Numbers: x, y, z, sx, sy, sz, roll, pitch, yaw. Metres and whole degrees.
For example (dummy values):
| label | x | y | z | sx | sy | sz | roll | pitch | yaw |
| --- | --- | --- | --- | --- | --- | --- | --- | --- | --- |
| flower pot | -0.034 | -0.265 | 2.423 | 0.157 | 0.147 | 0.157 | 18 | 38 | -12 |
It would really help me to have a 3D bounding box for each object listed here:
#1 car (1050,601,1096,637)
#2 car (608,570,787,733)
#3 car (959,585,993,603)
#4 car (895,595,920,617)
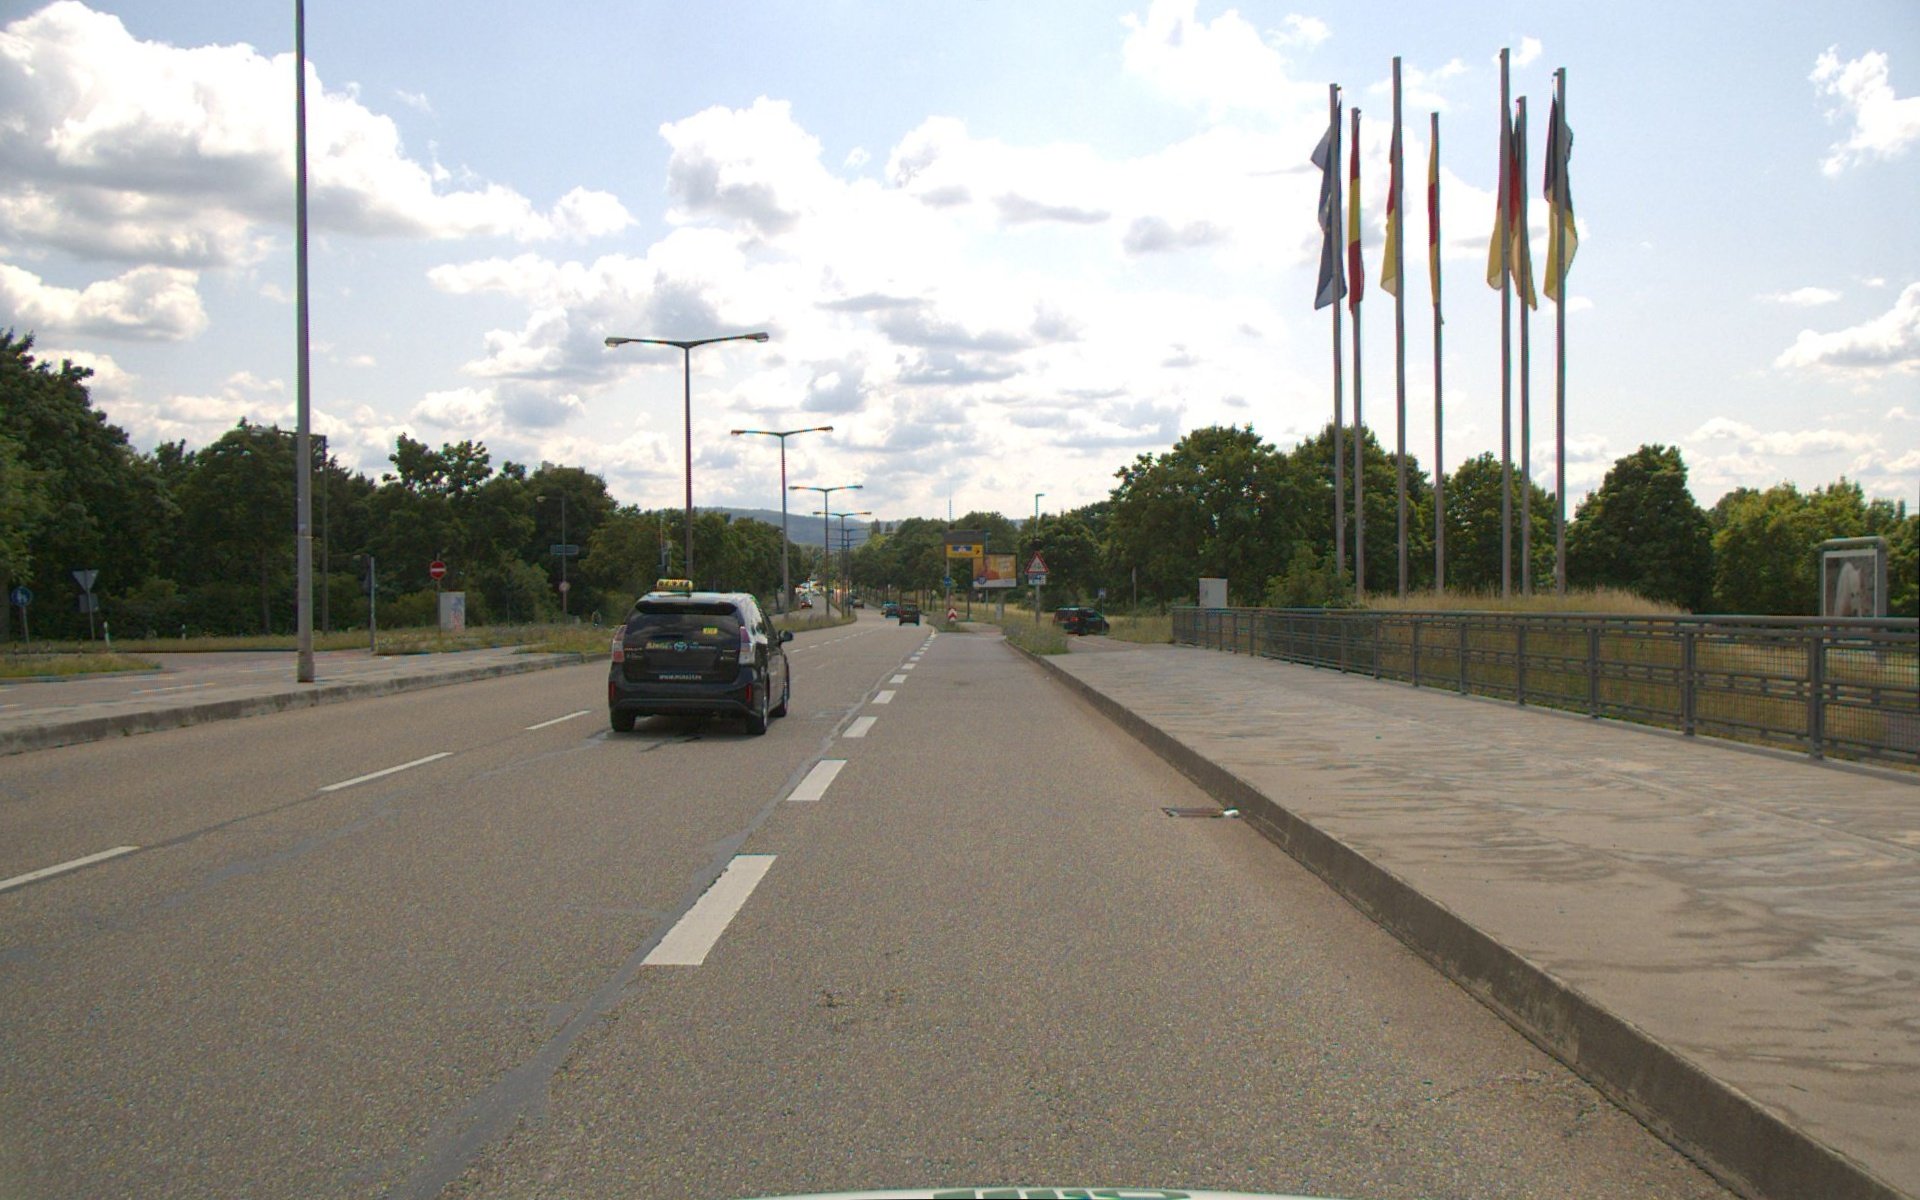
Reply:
| label | x | y | z | sx | sy | sz | roll | pitch | yaw |
| --- | --- | --- | --- | --- | --- | --- | --- | --- | --- |
| car | 5.777 | 0.929 | 84.429 | 1.951 | 1.691 | 4.004 | 1 | 1 | 9 |
| car | -3.001 | 0.516 | 19.616 | 1.744 | 1.713 | 3.997 | 1 | 1 | -4 |
| car | 1.598 | -0.587 | 166.783 | 1.966 | 1.691 | 3.972 | 1 | 1 | -23 |
| car | -4.513 | 0.501 | 141.401 | 1.954 | 1.691 | 3.997 | 1 | 1 | -4 |
